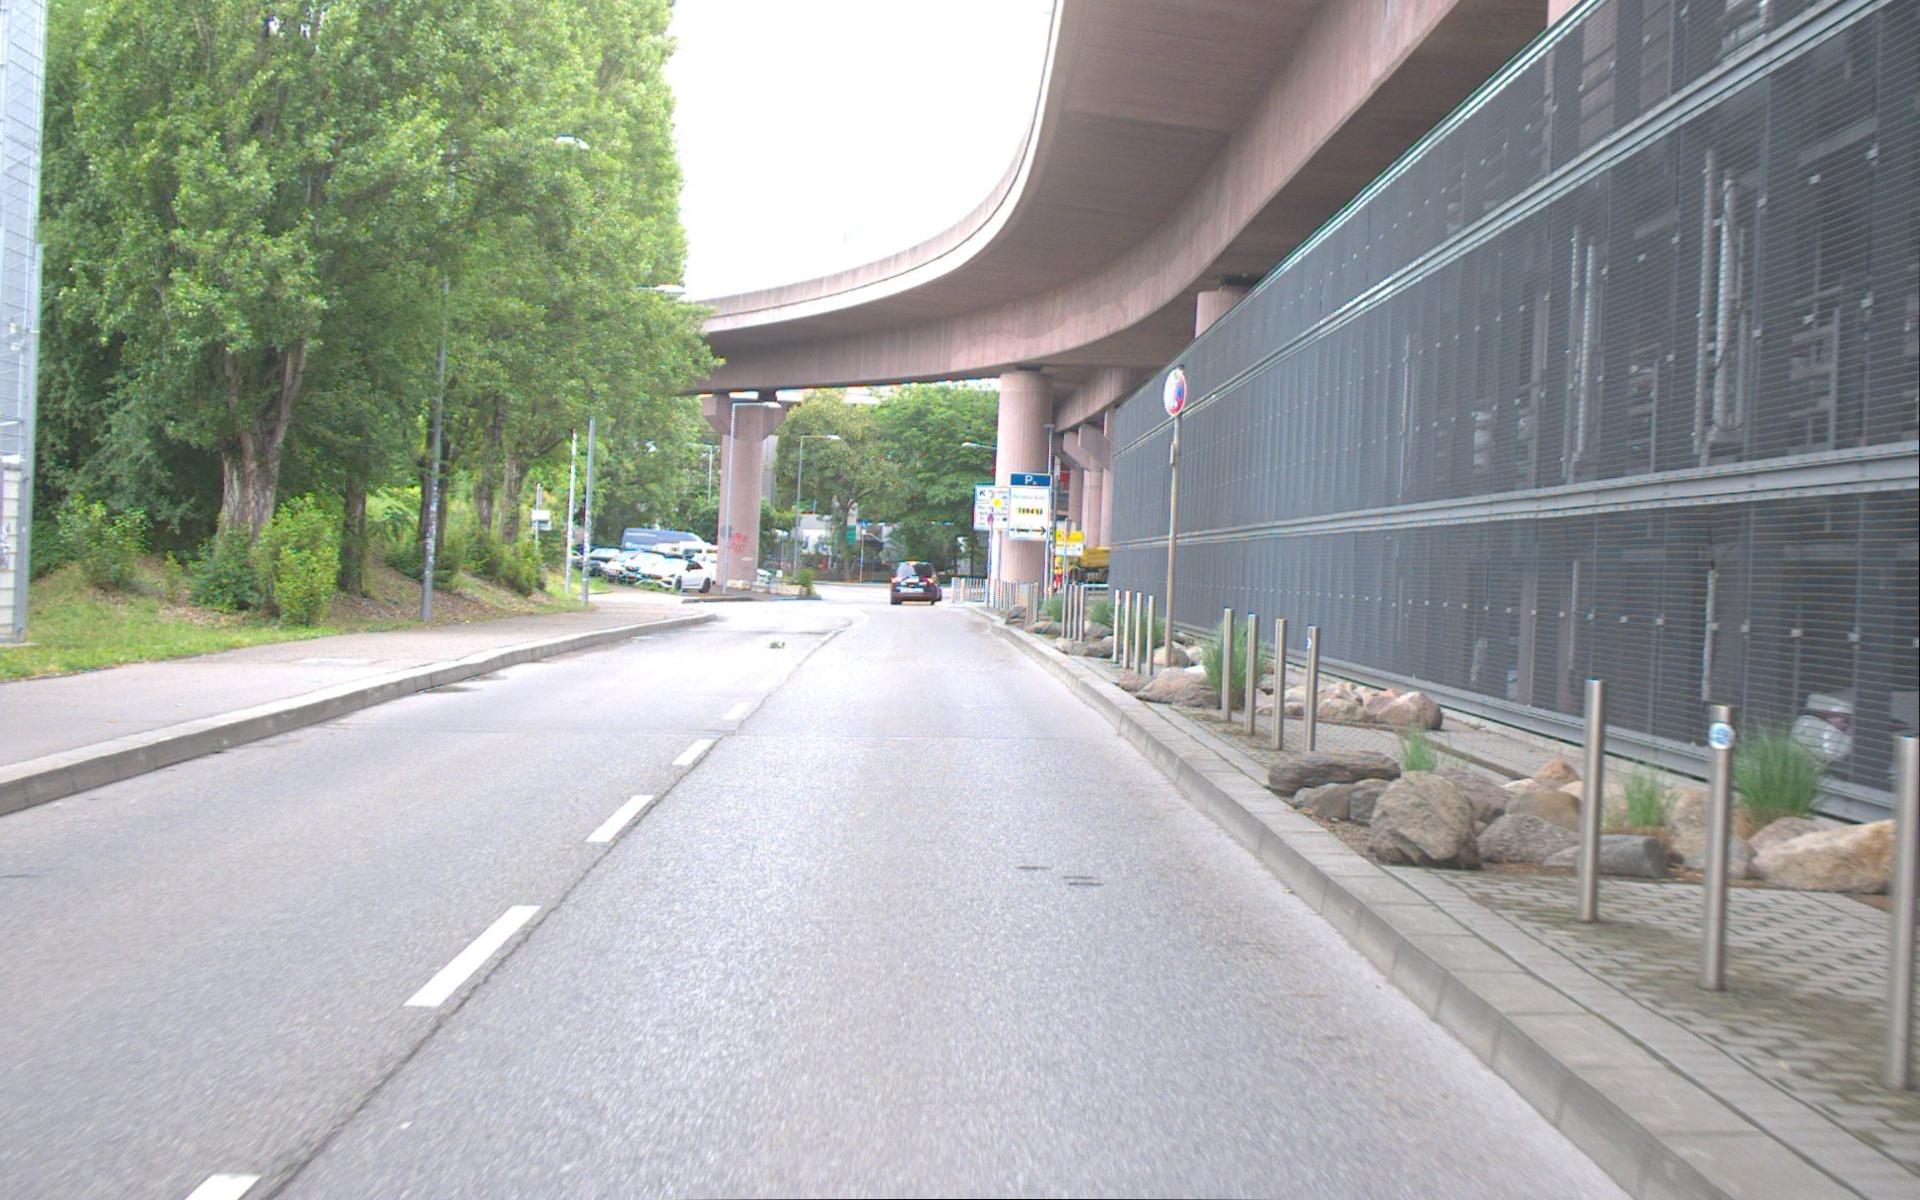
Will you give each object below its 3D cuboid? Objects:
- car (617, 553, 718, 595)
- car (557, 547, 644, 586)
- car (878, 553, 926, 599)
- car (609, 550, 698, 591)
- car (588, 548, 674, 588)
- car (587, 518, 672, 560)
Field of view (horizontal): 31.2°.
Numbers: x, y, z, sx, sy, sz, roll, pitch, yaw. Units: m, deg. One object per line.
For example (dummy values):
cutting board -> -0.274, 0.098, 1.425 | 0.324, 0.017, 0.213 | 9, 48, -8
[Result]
car -> -12.478, -1.119, 146.860 | 1.884, 1.711, 4.143 | 3, 2, 40
car -> -16.465, -1.542, 157.534 | 1.806, 1.711, 3.664 | 3, 2, 40
car -> -2.311, -0.988, 138.345 | 1.839, 1.705, 3.706 | 2, 2, -1
car -> -13.438, -1.287, 150.740 | 1.724, 1.711, 3.664 | 3, 2, 40
car -> -14.758, -1.438, 154.365 | 1.724, 1.711, 3.664 | 3, 2, 40
car -> -17.220, -3.193, 179.201 | 4.213, 2.007, 2.000 | 2, 0, -2
